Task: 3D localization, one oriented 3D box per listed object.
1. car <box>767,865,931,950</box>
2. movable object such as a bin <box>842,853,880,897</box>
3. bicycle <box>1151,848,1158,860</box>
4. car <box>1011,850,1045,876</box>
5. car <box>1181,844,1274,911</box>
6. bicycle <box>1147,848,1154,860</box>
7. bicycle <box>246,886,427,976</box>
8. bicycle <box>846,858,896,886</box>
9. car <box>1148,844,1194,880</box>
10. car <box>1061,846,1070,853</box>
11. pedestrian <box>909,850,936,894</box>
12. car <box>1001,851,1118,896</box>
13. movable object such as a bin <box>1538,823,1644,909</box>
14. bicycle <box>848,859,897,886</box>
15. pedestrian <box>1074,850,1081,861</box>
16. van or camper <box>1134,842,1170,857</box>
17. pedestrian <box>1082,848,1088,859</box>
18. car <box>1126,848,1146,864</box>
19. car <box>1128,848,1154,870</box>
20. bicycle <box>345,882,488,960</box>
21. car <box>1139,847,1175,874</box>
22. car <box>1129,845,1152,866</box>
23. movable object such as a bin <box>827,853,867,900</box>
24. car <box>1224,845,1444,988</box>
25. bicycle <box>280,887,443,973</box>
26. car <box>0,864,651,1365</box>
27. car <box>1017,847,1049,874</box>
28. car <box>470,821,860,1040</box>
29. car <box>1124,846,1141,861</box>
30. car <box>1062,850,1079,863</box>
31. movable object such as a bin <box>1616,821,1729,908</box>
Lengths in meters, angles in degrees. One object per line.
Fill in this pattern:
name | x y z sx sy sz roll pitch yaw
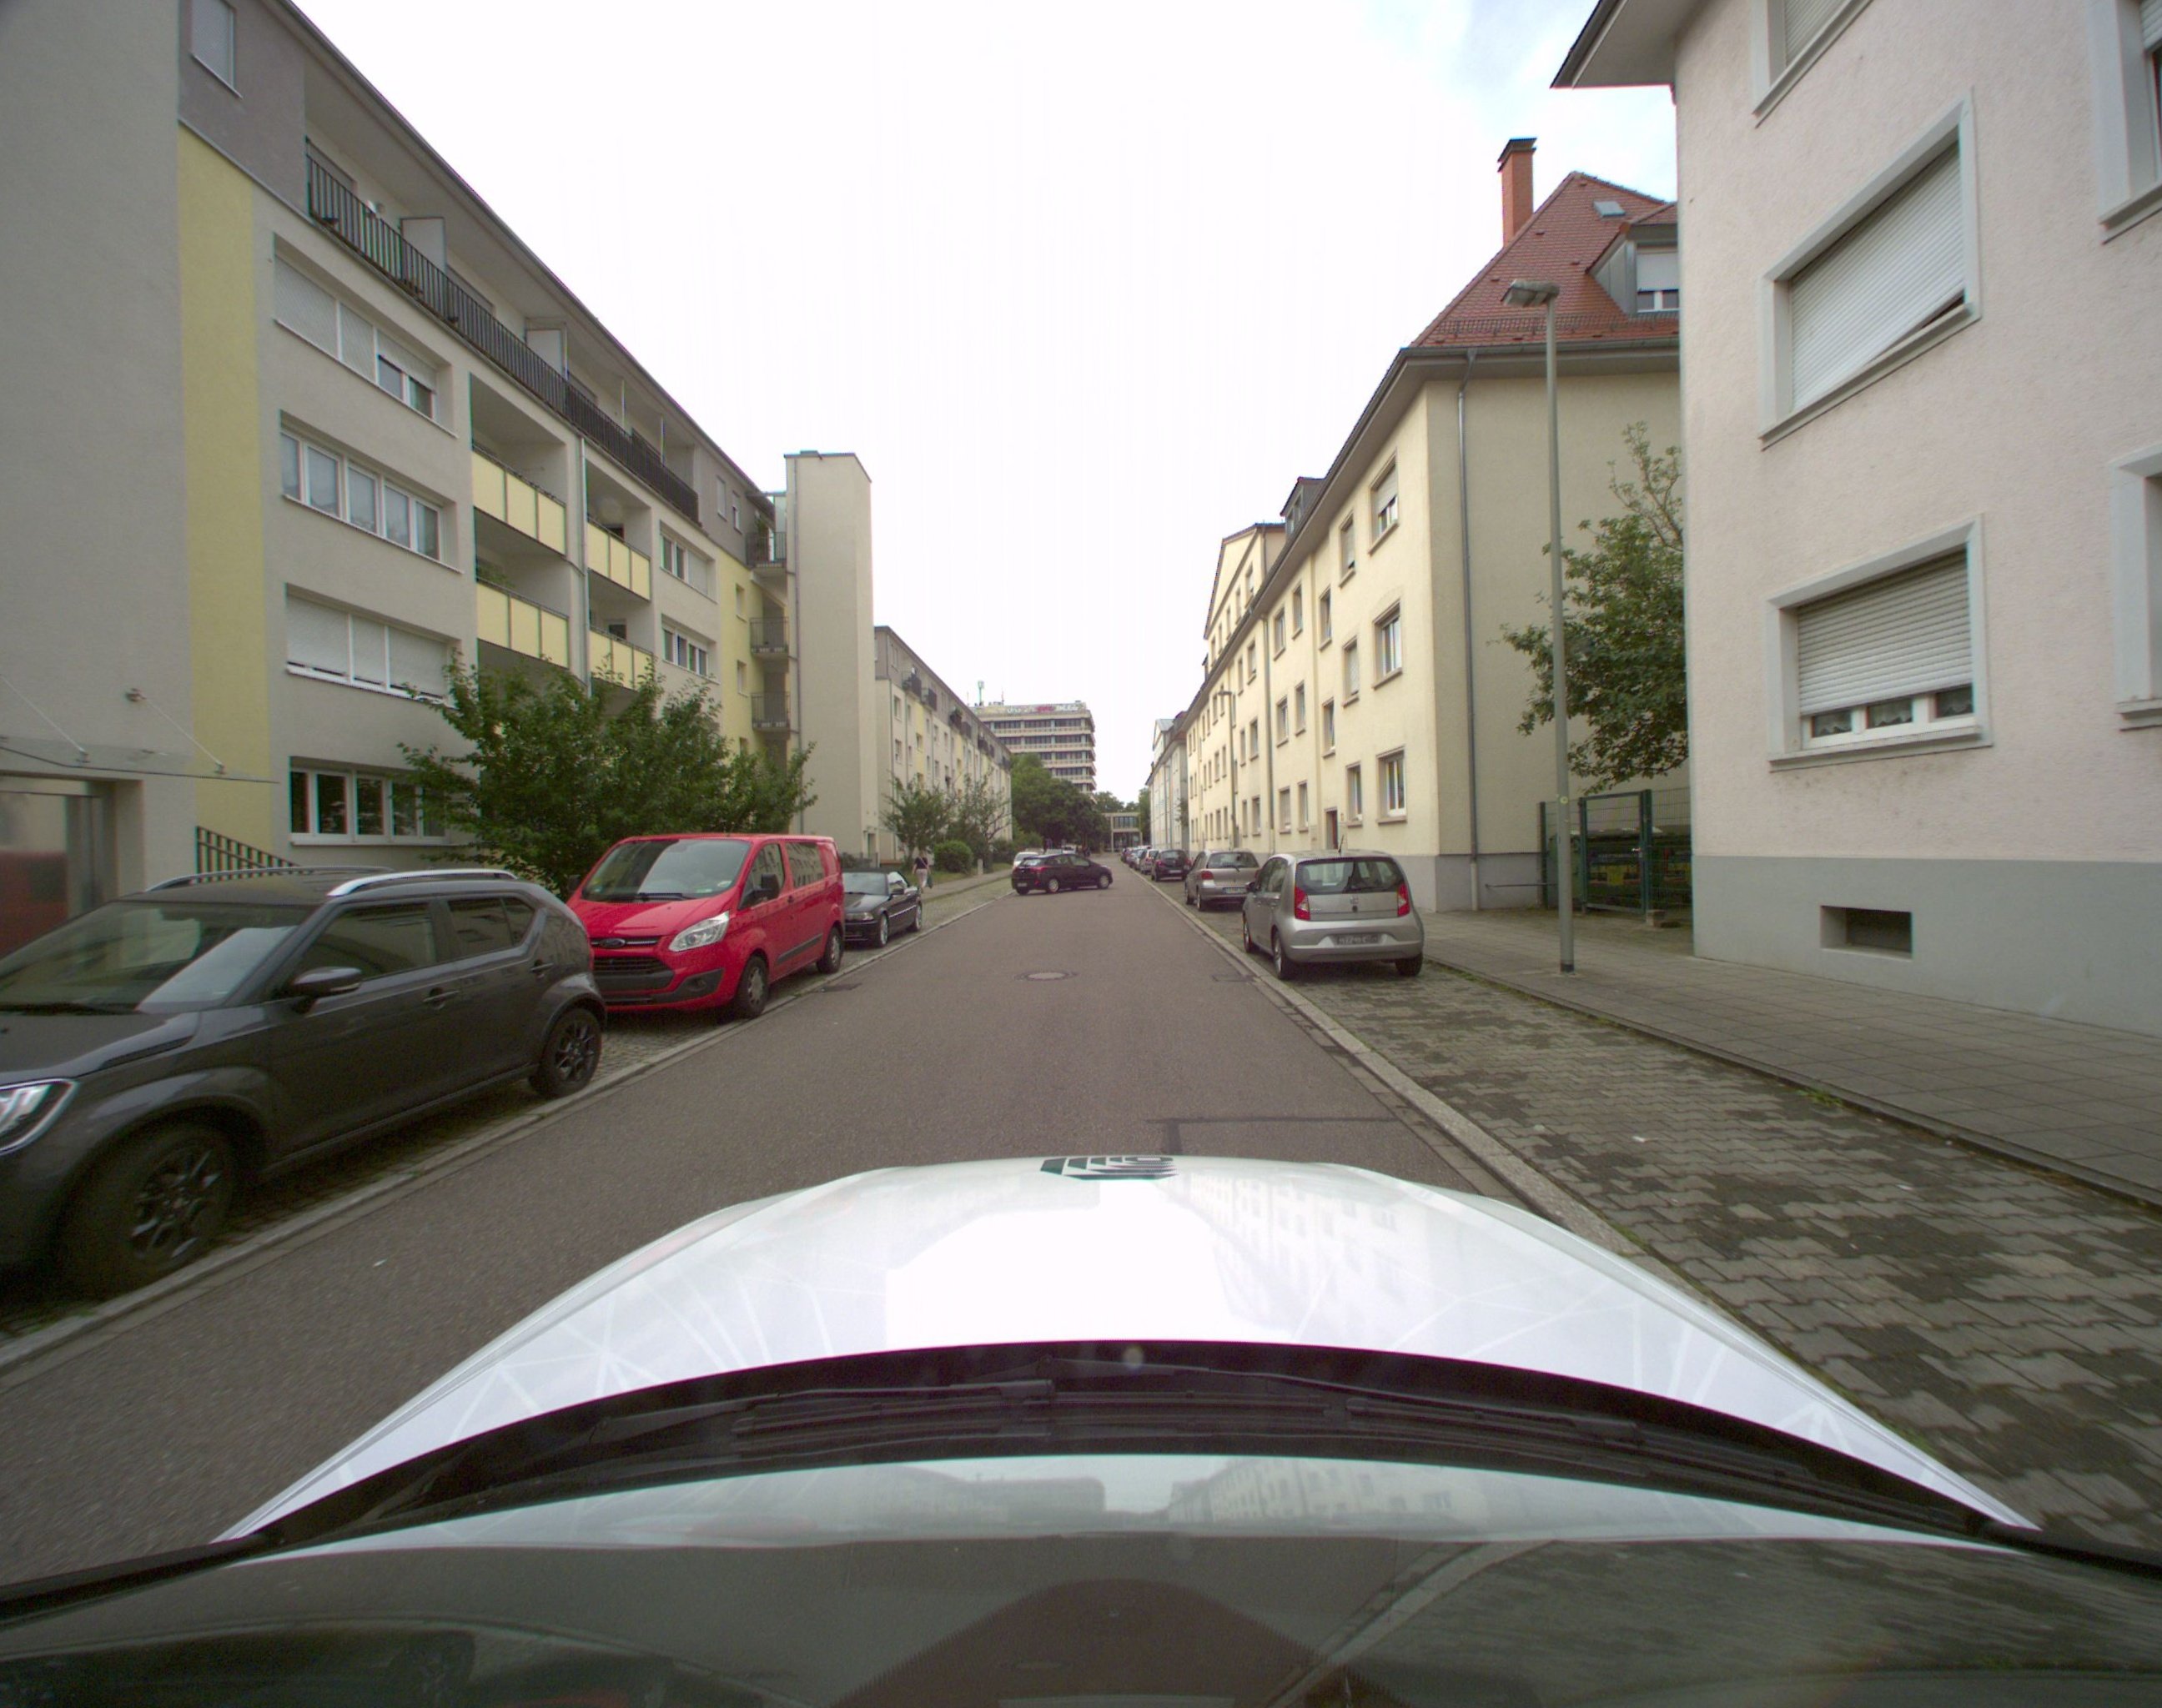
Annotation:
car | -4.277 0.920 15.782 1.864 1.323 4.362 0 0 0
movable object such as a bin | -7.369 0.673 27.313 0.800 1.429 1.290 -1 0 5
bicycle | 7.436 0.005 81.903 0.573 1.175 2.041 -3 0 8
car | -3.250 0.523 50.481 1.714 1.570 3.872 0 0 2
car | 3.665 0.534 20.983 1.719 1.517 4.062 -2 0 1
bicycle | 7.005 0.012 81.948 0.527 1.175 2.041 -3 0 8
bicycle | -9.906 1.011 10.877 1.828 1.118 0.605 -1 0 0
bicycle | -9.128 0.789 35.423 2.021 1.141 0.621 -2 0 -8
car | 4.099 0.354 37.713 1.719 1.517 4.062 -2 0 1
car | -3.170 -0.873 170.120 1.659 1.333 3.397 -1 1 2
pedestrian | -5.956 0.655 30.661 0.798 1.610 0.946 -2 0 -3
car | -0.736 0.690 30.456 1.885 1.432 4.258 -2 0 44
movable object such as a bin | 9.049 0.201 14.504 1.157 1.443 1.150 -2 0 1
bicycle | -9.231 0.808 36.048 2.022 1.141 0.621 -2 0 -9
pedestrian | -0.564 0.286 129.358 0.968 1.654 0.981 -2 0 1
van or camper | 10.754 -0.723 123.168 5.159 2.013 1.998 -2 0 -3
pedestrian | 0.611 -0.065 128.972 0.968 1.654 0.981 -2 0 1
car | 5.605 0.200 83.374 1.813 1.503 4.094 -2 0 2
car | 4.290 0.352 58.653 1.718 1.476 4.507 -1 0 2
bicycle | -10.208 1.021 12.531 1.824 1.118 0.572 -1 0 7
car | 4.465 0.339 48.152 1.842 1.450 3.835 -1 1 2
car | 4.917 0.104 67.546 1.813 1.642 4.094 -1 0 3
movable object such as a bin | -7.452 0.708 25.992 0.800 1.429 1.289 -1 0 4
car | 3.106 0.658 10.872 1.719 1.492 4.062 -2 0 1
bicycle | -10.183 1.063 11.555 1.827 1.118 0.571 -1 0 3
car | -4.348 0.878 4.471 1.714 1.570 4.056 0 0 2
car | -3.284 0.384 56.362 1.950 1.770 4.360 -1 0 -1
car | -4.370 0.667 9.721 2.145 1.954 4.920 0 0 -1
car | 5.579 -0.086 88.638 1.813 1.603 4.094 -2 0 3
car | -1.316 0.244 99.522 1.987 1.541 3.999 -1 0 -1
movable object such as a bin | 10.478 0.180 14.476 1.157 1.443 1.150 -2 0 1
